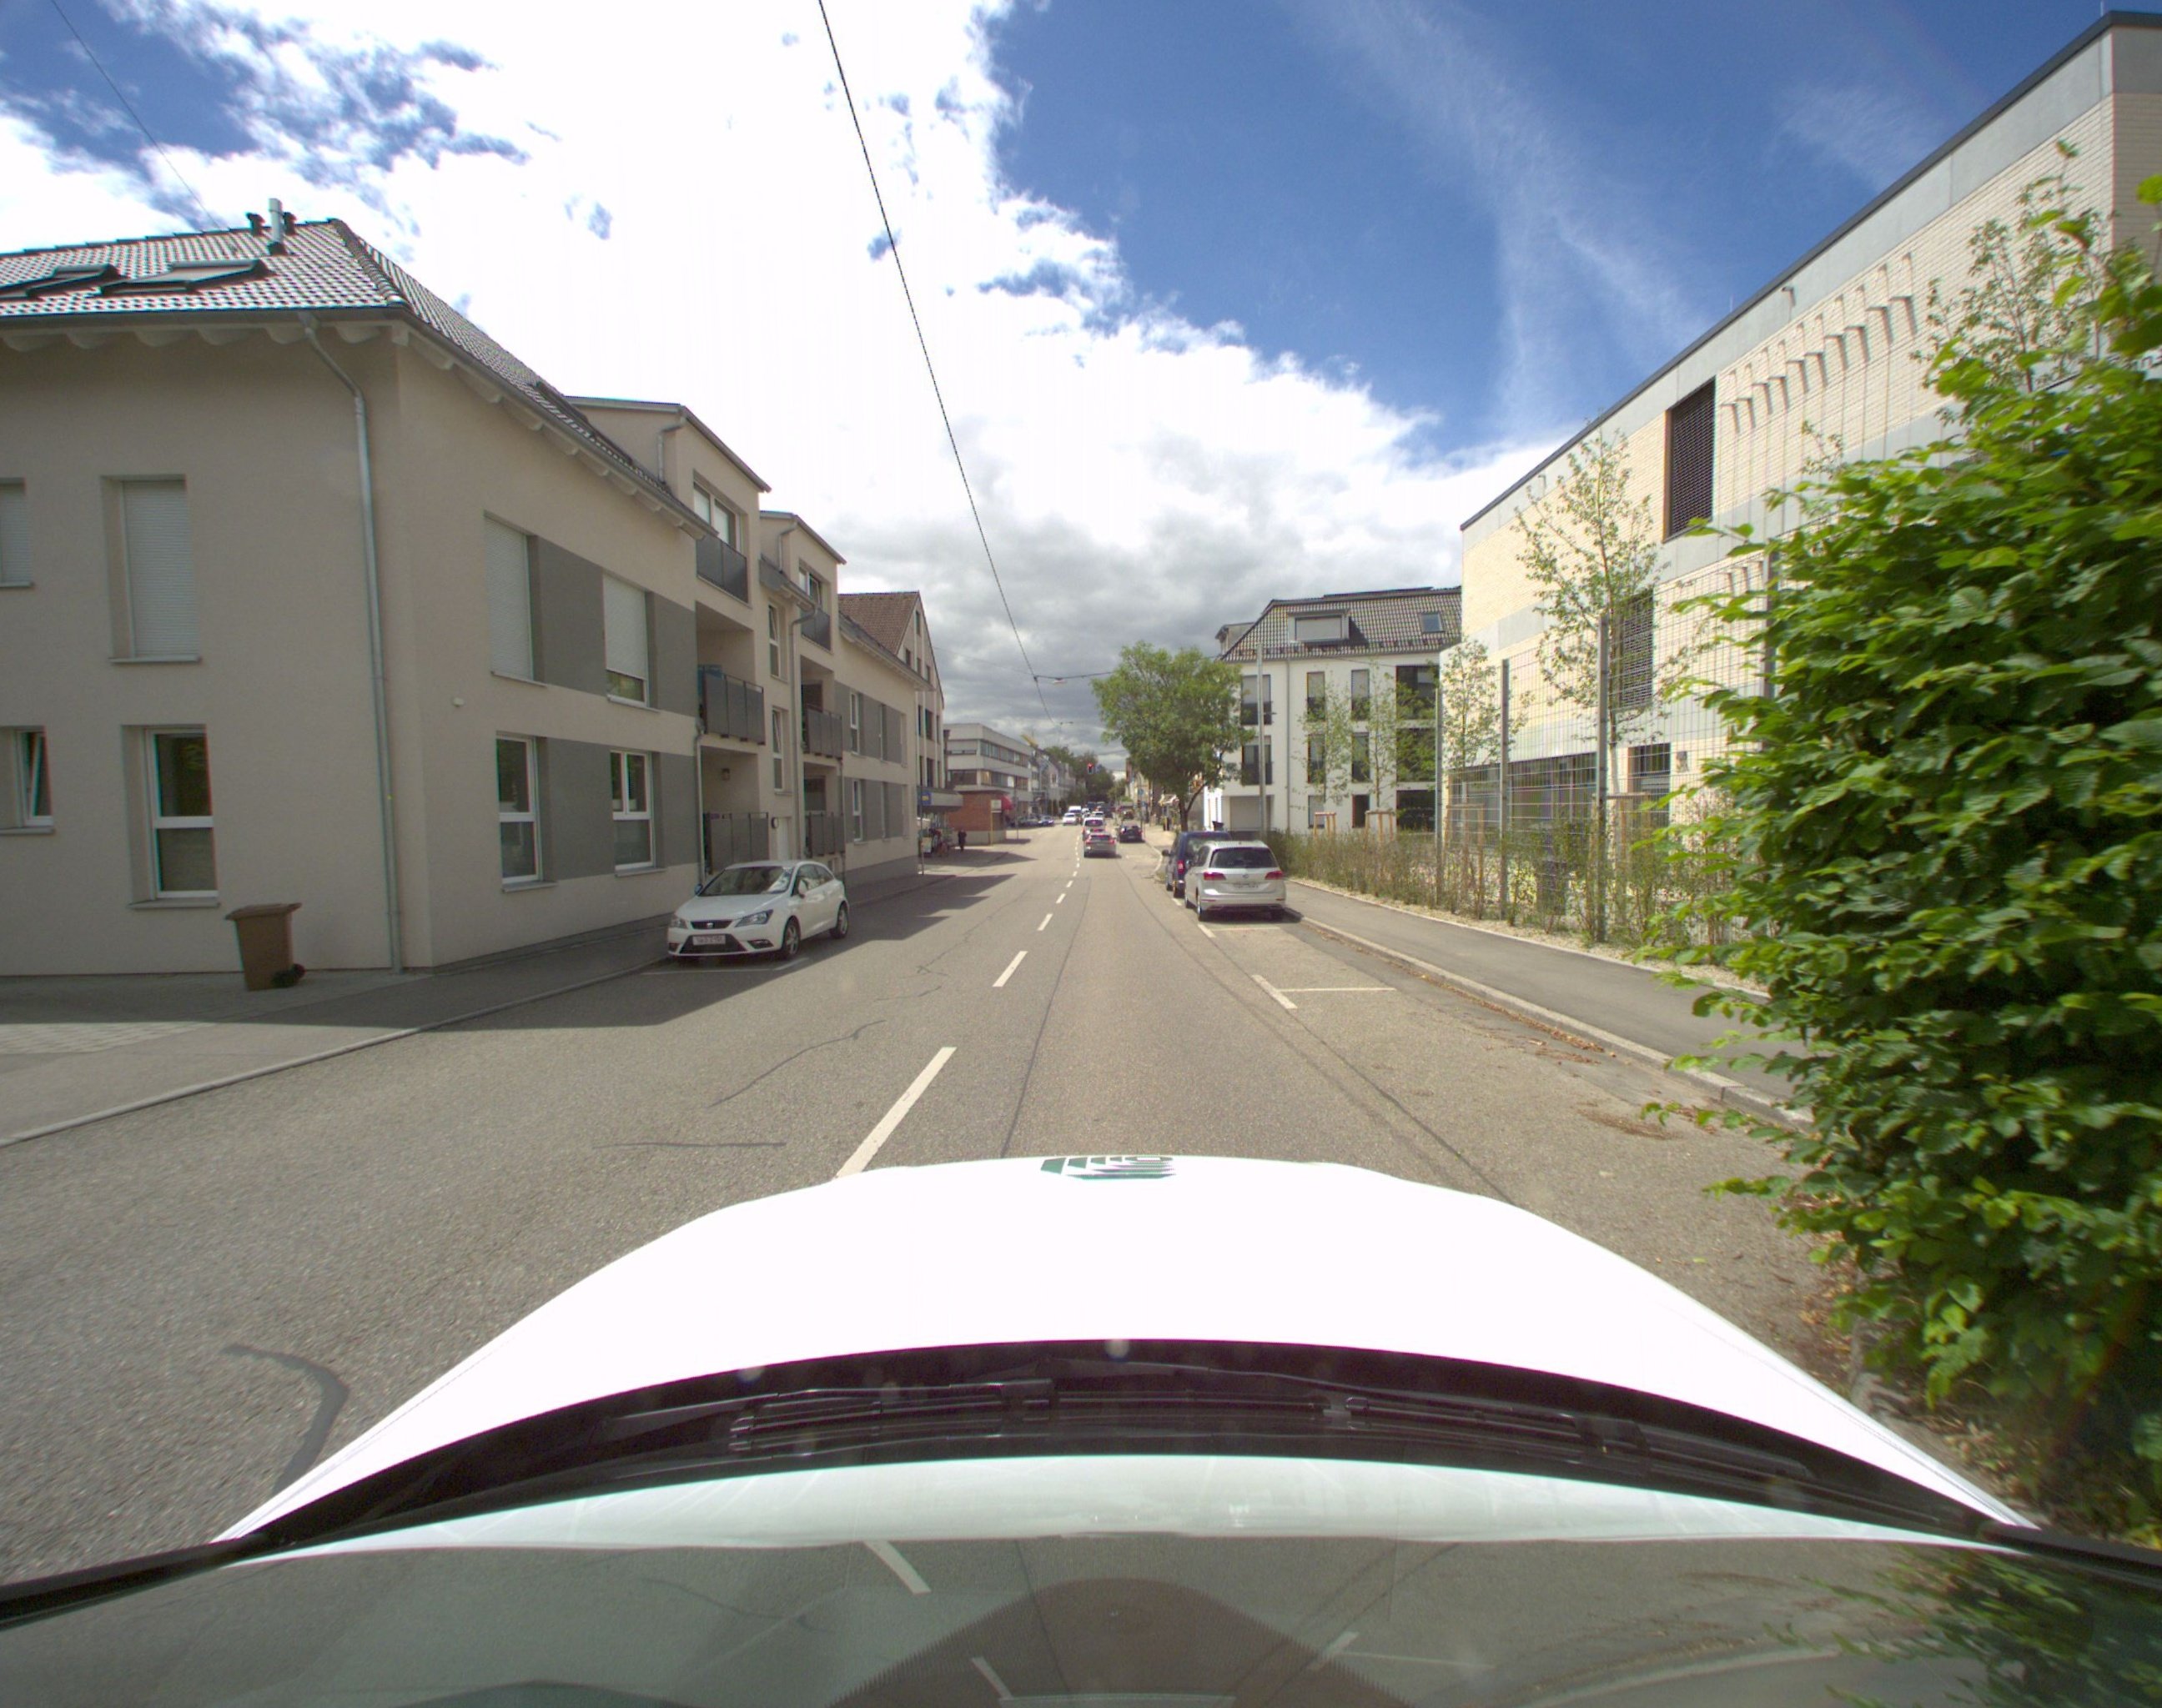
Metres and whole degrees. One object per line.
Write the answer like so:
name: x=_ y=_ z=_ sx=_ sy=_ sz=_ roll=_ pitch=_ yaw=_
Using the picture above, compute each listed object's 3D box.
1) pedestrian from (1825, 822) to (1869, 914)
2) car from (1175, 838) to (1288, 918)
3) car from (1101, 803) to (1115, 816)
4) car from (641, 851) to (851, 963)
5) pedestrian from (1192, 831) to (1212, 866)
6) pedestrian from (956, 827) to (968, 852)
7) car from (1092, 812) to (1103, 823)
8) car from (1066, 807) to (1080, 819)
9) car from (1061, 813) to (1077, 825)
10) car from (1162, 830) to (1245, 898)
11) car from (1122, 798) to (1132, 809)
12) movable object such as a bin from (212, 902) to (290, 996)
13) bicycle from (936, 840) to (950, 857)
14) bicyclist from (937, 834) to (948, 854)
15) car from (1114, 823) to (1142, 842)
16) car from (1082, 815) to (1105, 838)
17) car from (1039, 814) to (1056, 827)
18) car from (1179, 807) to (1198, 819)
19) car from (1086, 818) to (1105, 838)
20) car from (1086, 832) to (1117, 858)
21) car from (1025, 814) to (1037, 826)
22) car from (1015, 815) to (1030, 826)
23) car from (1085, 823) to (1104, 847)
pedestrian: x=11.953 y=0.217 z=12.711 sx=0.349 sy=1.415 sz=0.368 roll=-1 pitch=1 yaw=1
car: x=3.111 y=0.421 z=17.663 sx=1.779 sy=1.509 sz=4.366 roll=0 pitch=1 yaw=2
car: x=4.829 y=-8.067 z=147.750 sx=2.427 sy=2.318 sz=5.329 roll=0 pitch=2 yaw=1
car: x=-5.005 y=0.705 z=12.757 sx=1.641 sy=1.418 sz=3.700 roll=-1 pitch=1 yaw=1
pedestrian: x=5.882 y=-0.270 z=39.616 sx=0.739 sy=1.647 sz=0.612 roll=-2 pitch=1 yaw=-18
pedestrian: x=-7.779 y=-0.959 z=53.195 sx=0.625 sy=1.602 sz=0.563 roll=0 pitch=1 yaw=5
car: x=2.619 y=-5.646 z=126.290 sx=1.630 sy=1.655 sz=3.852 roll=-1 pitch=1 yaw=2
car: x=-1.205 y=-6.319 z=125.395 sx=1.864 sy=1.640 sz=4.005 roll=-1 pitch=1 yaw=4
car: x=-1.650 y=-4.734 z=110.694 sx=1.865 sy=1.639 sz=4.005 roll=1 pitch=1 yaw=4
car: x=3.436 y=0.213 z=23.534 sx=1.837 sy=1.767 sz=4.517 roll=0 pitch=1 yaw=2
car: x=9.126 y=-10.004 z=161.497 sx=1.795 sy=2.013 sz=4.002 roll=-1 pitch=1 yaw=2
movable object such as a bin: x=-8.976 y=1.018 z=8.814 sx=0.412 sy=0.953 sz=0.391 roll=-1 pitch=0 yaw=-1
bicycle: x=-8.054 y=-0.331 z=47.638 sx=0.465 sy=0.861 sz=1.778 roll=0 pitch=3 yaw=1
bicyclist: x=-8.088 y=-0.596 z=47.529 sx=0.456 sy=1.179 sz=0.625 roll=-1 pitch=1 yaw=1
car: x=3.650 y=-1.718 z=63.680 sx=1.749 sy=1.370 sz=3.997 roll=-1 pitch=3 yaw=-3
car: x=1.085 y=-2.241 z=67.825 sx=1.830 sy=1.861 sz=3.852 roll=0 pitch=1 yaw=1
car: x=-4.423 y=-4.386 z=107.428 sx=1.865 sy=1.639 sz=4.005 roll=1 pitch=1 yaw=4
car: x=16.751 y=-6.382 z=127.035 sx=1.555 sy=1.614 sz=3.684 roll=1 pitch=1 yaw=32
car: x=1.408 y=-2.502 z=79.104 sx=1.830 sy=1.861 sz=3.852 roll=0 pitch=1 yaw=1
car: x=1.197 y=-0.575 z=48.156 sx=1.737 sy=1.416 sz=4.002 roll=-1 pitch=1 yaw=1
car: x=-6.827 y=-4.603 z=111.912 sx=1.379 sy=1.540 sz=3.400 roll=-1 pitch=1 yaw=2
car: x=-7.634 y=-4.398 z=106.635 sx=1.546 sy=1.376 sz=3.400 roll=-1 pitch=1 yaw=2
car: x=0.963 y=-1.353 z=58.264 sx=1.269 sy=1.527 sz=3.052 roll=-1 pitch=4 yaw=1
